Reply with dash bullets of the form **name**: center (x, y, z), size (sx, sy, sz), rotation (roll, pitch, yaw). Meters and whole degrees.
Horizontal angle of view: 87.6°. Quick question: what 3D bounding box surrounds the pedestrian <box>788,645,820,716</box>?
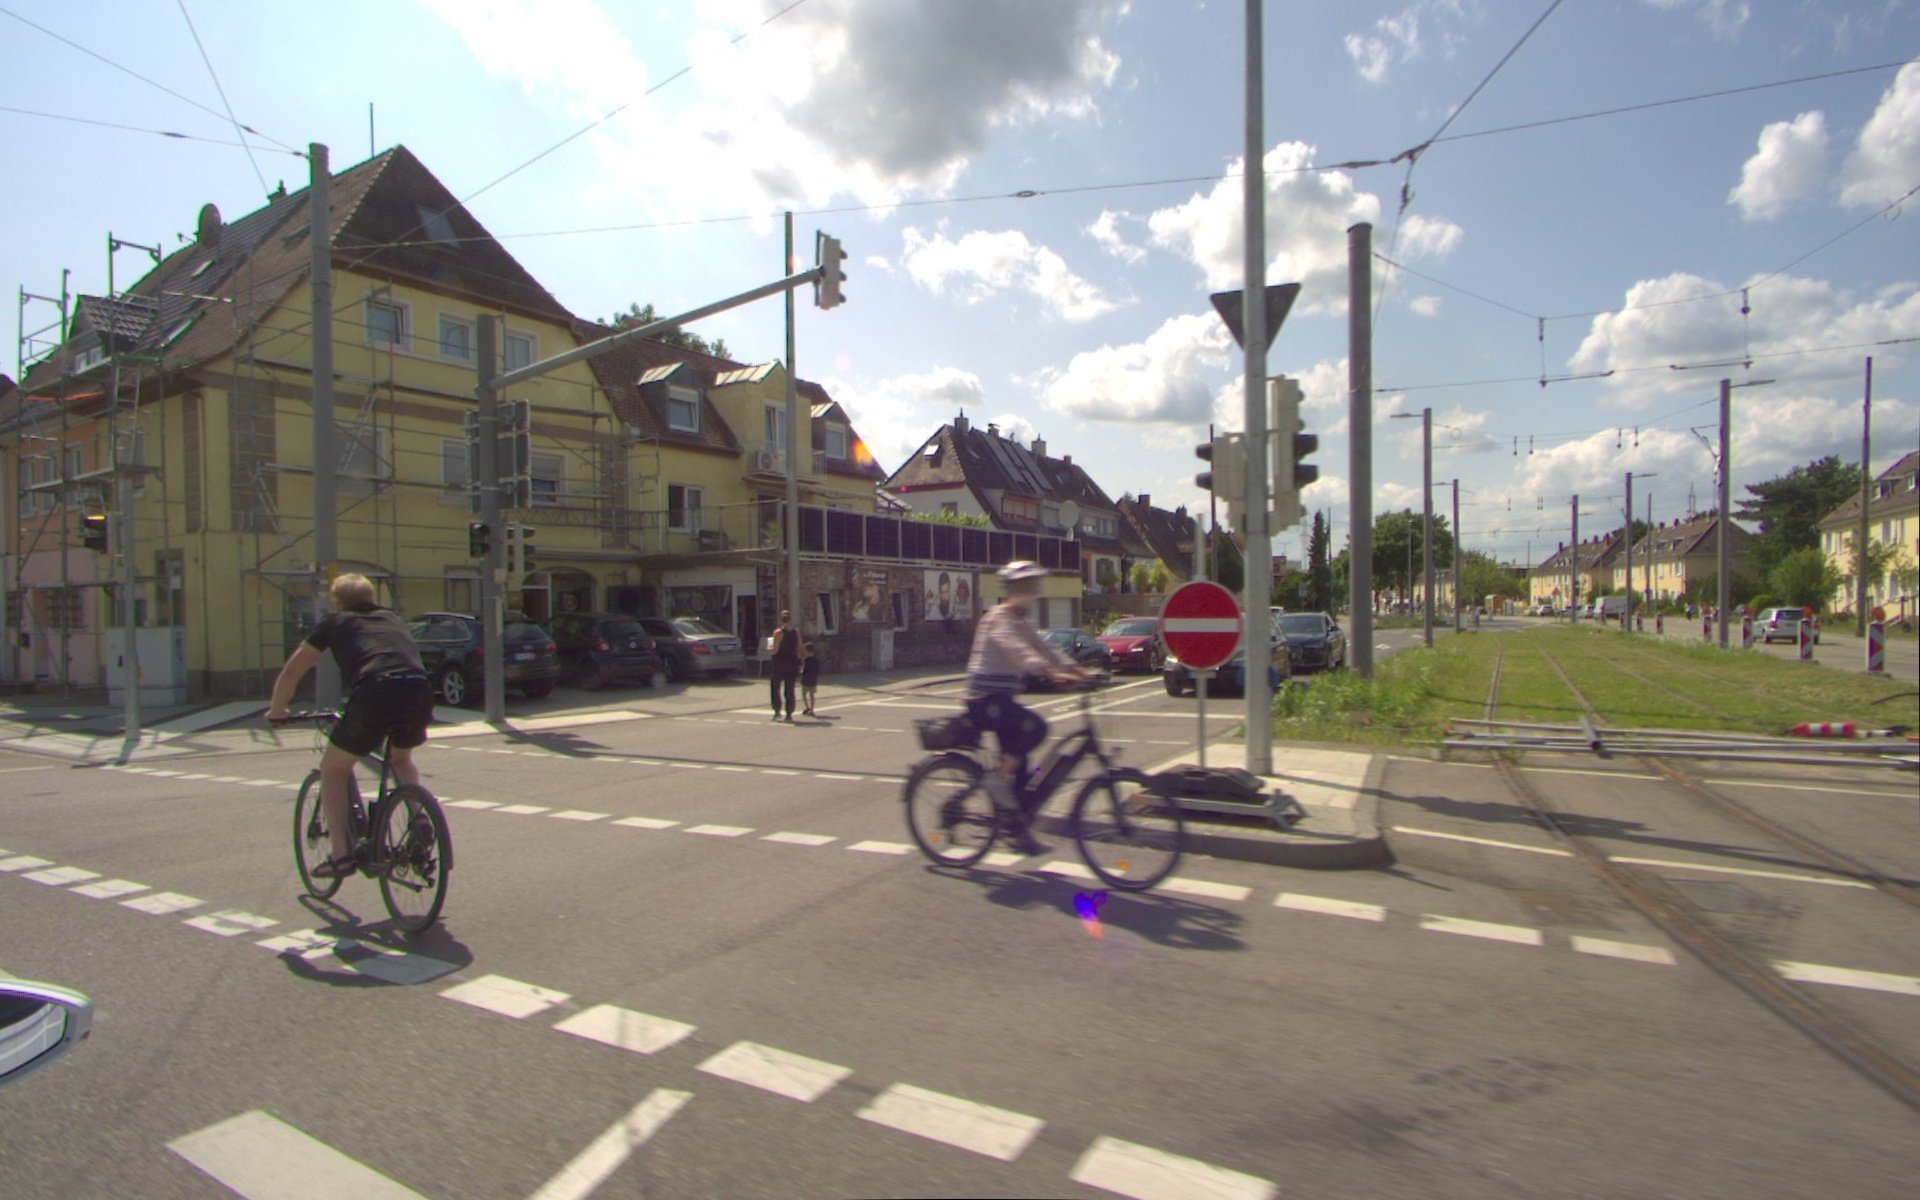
- **pedestrian**: center (-2.592, 1.332, 16.672), size (0.480, 1.151, 0.389), rotation (0, -1, 1)

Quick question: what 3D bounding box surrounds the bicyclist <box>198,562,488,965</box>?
- **bicyclist**: center (-3.148, 0.731, 5.130), size (1.068, 1.818, 0.826), rotation (0, 2, 31)

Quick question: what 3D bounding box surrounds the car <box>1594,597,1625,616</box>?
- **car**: center (63.132, 0.677, 97.343), size (1.968, 1.746, 3.988), rotation (-1, -2, 25)

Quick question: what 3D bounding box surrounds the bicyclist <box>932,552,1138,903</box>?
- **bicyclist**: center (0.421, 0.654, 5.528), size (0.968, 1.760, 0.650), rotation (-1, -1, 26)

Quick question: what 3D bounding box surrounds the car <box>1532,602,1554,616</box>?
- **car**: center (74.627, 1.142, 128.242), size (1.966, 1.746, 3.991), rotation (-1, -2, 23)

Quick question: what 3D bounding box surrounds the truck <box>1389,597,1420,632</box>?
- **truck**: center (48.502, 1.662, 109.073), size (2.344, 3.582, 8.498), rotation (-1, -2, 29)

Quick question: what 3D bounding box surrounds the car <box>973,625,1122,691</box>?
- **car**: center (2.059, 1.231, 22.342), size (1.713, 1.325, 4.312), rotation (-1, -2, 29)

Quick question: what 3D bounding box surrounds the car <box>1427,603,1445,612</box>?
- **car**: center (91.930, 1.498, 193.485), size (1.962, 1.746, 4.000), rotation (0, -2, 9)

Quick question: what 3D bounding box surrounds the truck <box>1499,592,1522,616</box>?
- **truck**: center (80.892, 0.640, 147.174), size (1.964, 3.267, 5.330), rotation (0, -2, 17)

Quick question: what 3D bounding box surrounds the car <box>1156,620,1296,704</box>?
- **car**: center (5.429, 1.144, 20.042), size (1.713, 1.346, 4.309), rotation (-1, 1, 29)

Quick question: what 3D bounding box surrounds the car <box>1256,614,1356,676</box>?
- **car**: center (8.987, 1.091, 25.795), size (1.713, 1.346, 4.309), rotation (-1, 1, 29)

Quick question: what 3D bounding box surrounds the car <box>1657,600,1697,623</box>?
- **car**: center (58.551, 0.948, 81.874), size (1.968, 1.746, 3.988), rotation (-1, -2, 25)

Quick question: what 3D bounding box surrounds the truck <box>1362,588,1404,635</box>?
- **truck**: center (36.727, 1.106, 86.794), size (2.473, 3.874, 7.612), rotation (-1, -2, 29)

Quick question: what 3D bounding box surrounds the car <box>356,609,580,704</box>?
- **car**: center (-9.308, 1.020, 18.879), size (4.073, 1.616, 1.990), rotation (-1, -2, 33)

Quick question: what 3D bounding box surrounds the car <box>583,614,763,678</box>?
- **car**: center (-6.759, 1.059, 23.464), size (4.073, 1.369, 1.864), rotation (-1, -2, 33)

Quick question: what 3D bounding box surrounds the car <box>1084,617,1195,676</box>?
- **car**: center (5.015, 1.243, 27.515), size (1.713, 1.492, 4.312), rotation (-1, -2, 29)

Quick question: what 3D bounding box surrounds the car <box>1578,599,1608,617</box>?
- **car**: center (65.676, 0.865, 103.998), size (1.966, 1.746, 3.991), rotation (-1, -2, 23)

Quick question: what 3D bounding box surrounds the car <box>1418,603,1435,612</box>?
- **car**: center (92.104, 1.549, 197.733), size (1.961, 1.746, 4.000), rotation (0, -2, 8)

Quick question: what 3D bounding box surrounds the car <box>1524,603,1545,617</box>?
- **car**: center (76.738, 1.330, 133.822), size (1.966, 1.746, 3.991), rotation (-1, -2, 23)

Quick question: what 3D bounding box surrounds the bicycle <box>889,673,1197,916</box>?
- **bicycle**: center (0.449, 0.991, 5.507), size (1.562, 1.132, 0.650), rotation (-1, -1, 26)

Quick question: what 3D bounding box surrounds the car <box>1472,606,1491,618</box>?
- **car**: center (84.023, 1.977, 161.246), size (1.964, 1.746, 3.996), rotation (-1, -2, 17)

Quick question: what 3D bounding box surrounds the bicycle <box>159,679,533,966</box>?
- **bicycle**: center (-3.199, 1.029, 5.175), size (1.942, 1.090, 0.826), rotation (0, 2, 31)

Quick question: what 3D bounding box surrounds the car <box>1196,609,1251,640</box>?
- **car**: center (13.502, 1.262, 51.215), size (1.713, 1.492, 4.312), rotation (-1, -2, 29)

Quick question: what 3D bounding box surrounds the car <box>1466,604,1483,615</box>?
- **car**: center (87.287, 1.580, 169.864), size (1.965, 1.746, 3.993), rotation (-1, -2, 20)

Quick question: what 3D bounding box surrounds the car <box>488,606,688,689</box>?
- **car**: center (-7.963, 0.984, 21.368), size (4.073, 1.616, 1.990), rotation (-1, -2, 33)

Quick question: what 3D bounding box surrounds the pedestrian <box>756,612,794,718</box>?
- **pedestrian**: center (-2.932, 1.025, 15.891), size (0.538, 1.664, 0.401), rotation (0, -1, -4)

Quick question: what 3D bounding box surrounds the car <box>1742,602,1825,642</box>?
- **car**: center (32.771, 0.849, 39.956), size (1.708, 1.423, 4.000), rotation (3, 2, 28)

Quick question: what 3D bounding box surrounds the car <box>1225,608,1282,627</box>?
- **car**: center (23.966, 1.480, 81.847), size (4.258, 1.492, 1.948), rotation (-1, -2, 24)
